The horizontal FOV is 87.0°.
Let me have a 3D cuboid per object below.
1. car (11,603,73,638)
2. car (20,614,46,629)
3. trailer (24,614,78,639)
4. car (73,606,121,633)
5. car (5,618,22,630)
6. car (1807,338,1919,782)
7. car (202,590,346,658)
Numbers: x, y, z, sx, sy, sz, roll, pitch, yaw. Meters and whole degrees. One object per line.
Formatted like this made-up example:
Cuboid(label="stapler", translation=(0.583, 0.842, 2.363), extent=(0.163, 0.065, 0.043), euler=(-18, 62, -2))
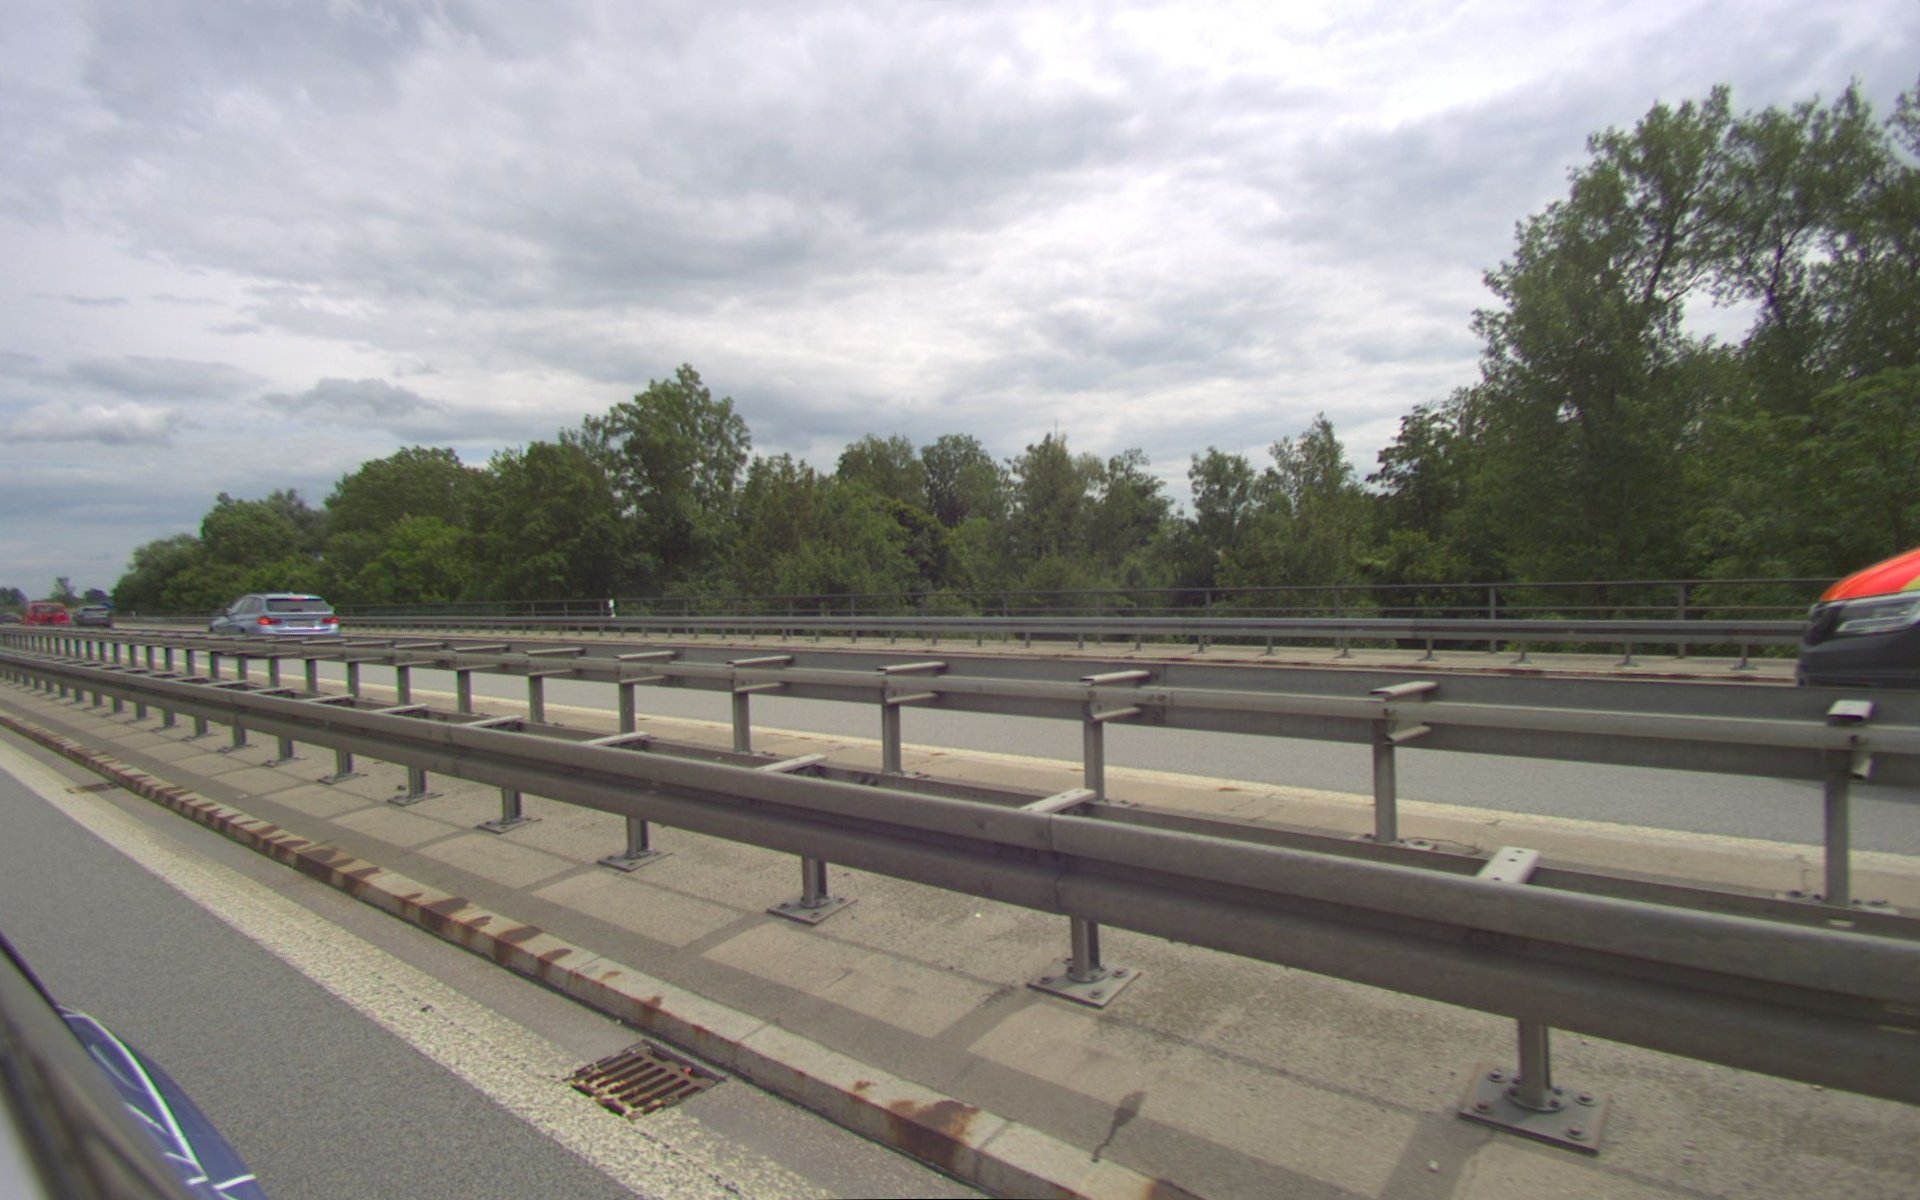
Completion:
Cuboid(label="car", translation=(-46.807, 1.029, 51.555), extent=(4.566, 1.653, 1.794), euler=(-1, 1, 41))
Cuboid(label="car", translation=(-112.211, 2.568, 122.485), extent=(4.226, 1.758, 1.971), euler=(-1, 1, 44))
Cuboid(label="trailer", translation=(-43.875, 1.268, 48.829), extent=(3.449, 1.133, 1.543), euler=(-1, -1, 41))
Cuboid(label="car", translation=(-55.762, 1.238, 65.387), extent=(4.566, 1.653, 1.692), euler=(-1, 1, 41))
Cuboid(label="car", translation=(-130.323, 3.291, 139.366), extent=(1.671, 1.447, 4.115), euler=(-2, 0, -42))
Cuboid(label="car", translation=(7.823, -0.270, 4.279), extent=(6.389, 2.310, 1.975), euler=(-1, 1, 38))
Cuboid(label="car", translation=(-15.952, 0.594, 23.448), extent=(4.247, 1.416, 1.710), euler=(-2, -4, 41))
